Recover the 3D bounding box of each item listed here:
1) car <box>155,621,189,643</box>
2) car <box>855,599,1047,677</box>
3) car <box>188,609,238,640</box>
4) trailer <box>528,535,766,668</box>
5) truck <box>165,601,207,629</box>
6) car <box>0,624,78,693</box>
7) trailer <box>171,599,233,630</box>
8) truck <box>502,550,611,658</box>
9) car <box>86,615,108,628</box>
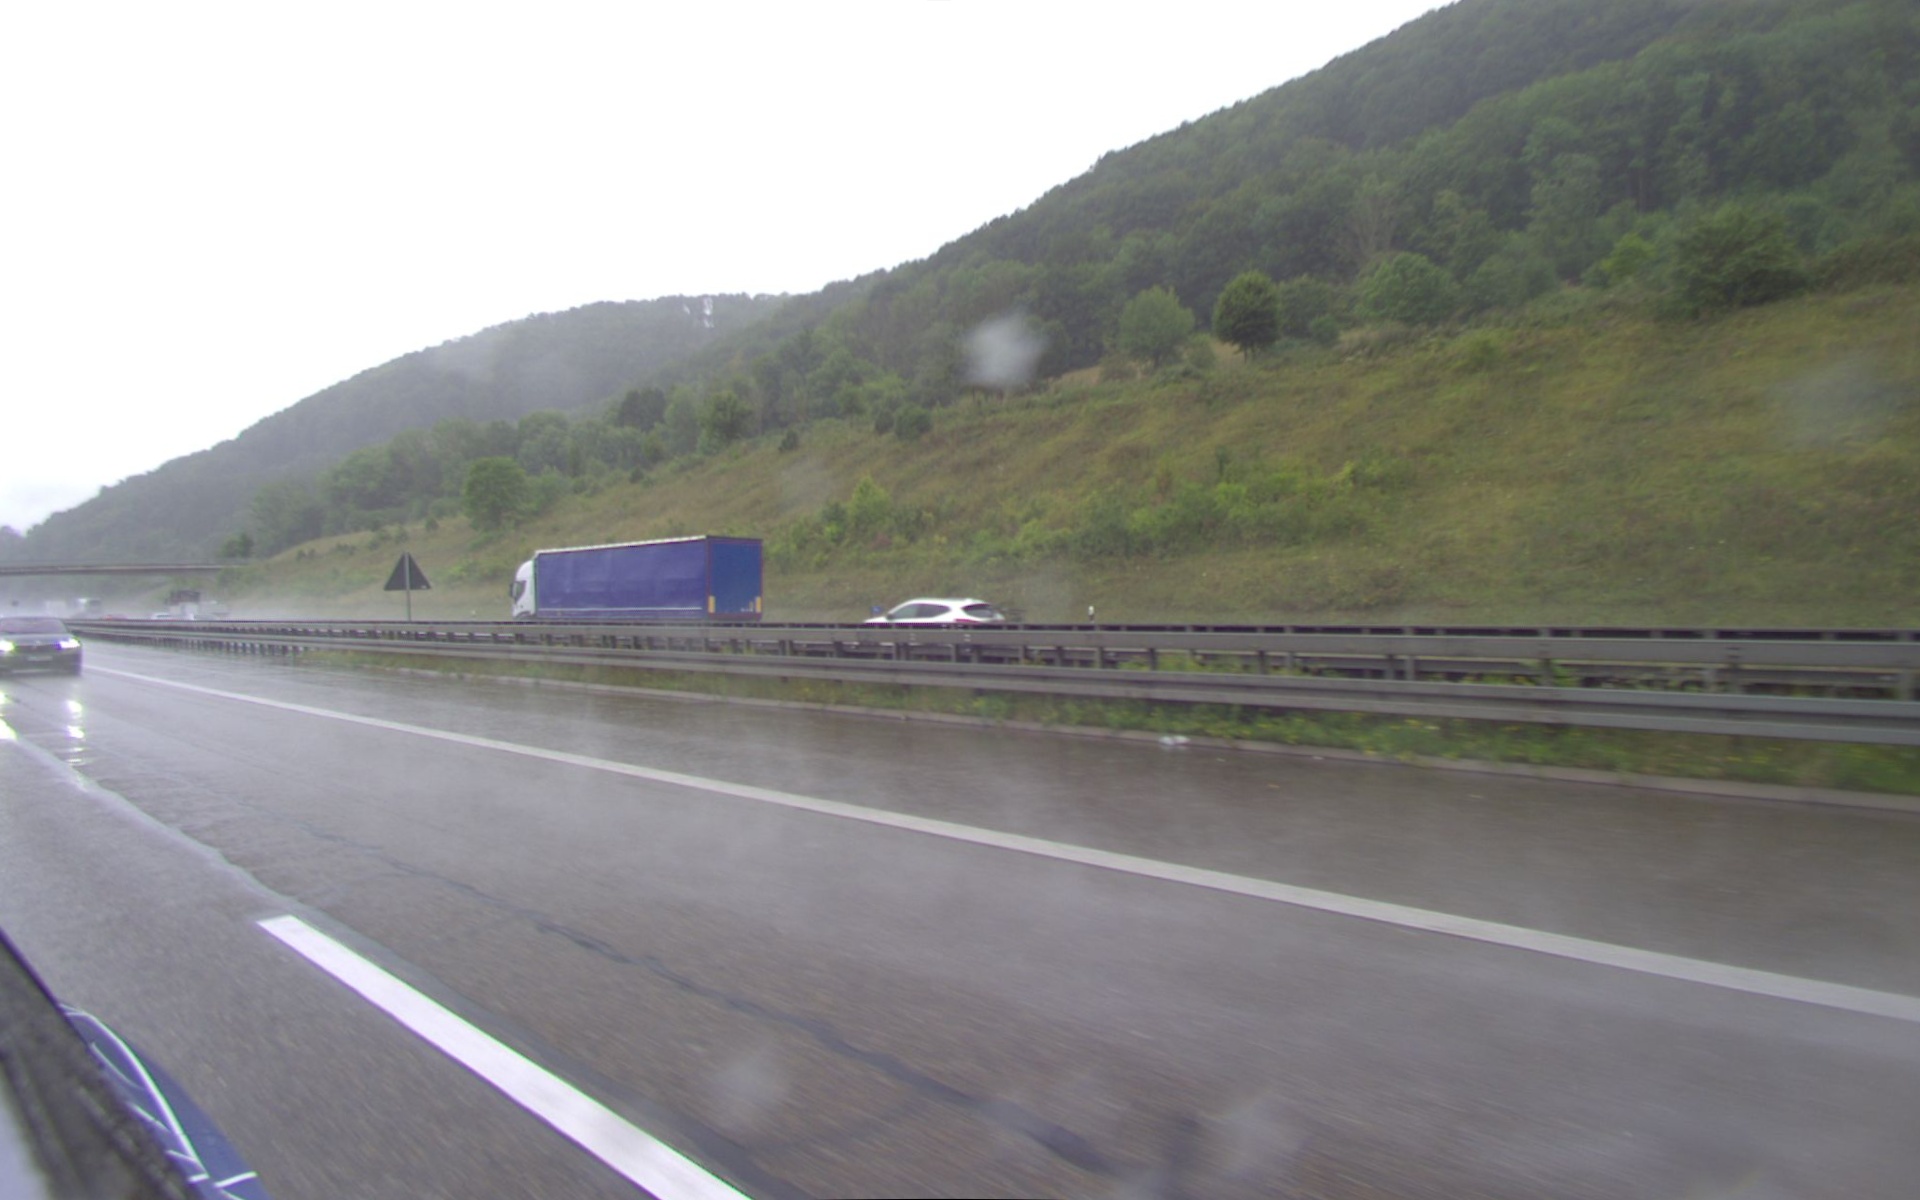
[{"bbox_3d":[-77.212,3.129,99.123,3.999,2.029,1.972,-1,-1,42],"label":"car"},{"bbox_3d":[-0.302,0.904,25.130,4.657,1.758,1.973,-1,-1,41],"label":"car"},{"bbox_3d":[-49.389,1.605,66.900,3.999,2.029,1.972,-1,-1,42],"label":"car"},{"bbox_3d":[-13.535,0.180,42.332,14.038,4.822,2.707,-1,-1,42],"label":"trailer"},{"bbox_3d":[-84.544,1.620,110.570,5.517,3.021,2.777,-1,-1,43],"label":"truck"},{"bbox_3d":[-25.334,1.498,27.144,4.909,1.696,1.972,-1,-2,43],"label":"car"},{"bbox_3d":[-78.900,1.545,105.196,14.903,3.076,2.782,-1,-1,44],"label":"trailer"},{"bbox_3d":[-18.777,0.209,47.004,5.154,4.708,2.661,-1,-1,42],"label":"truck"},{"bbox_3d":[-147.239,3.633,172.577,4.705,2.029,2.361,-1,0,43],"label":"car"}]
